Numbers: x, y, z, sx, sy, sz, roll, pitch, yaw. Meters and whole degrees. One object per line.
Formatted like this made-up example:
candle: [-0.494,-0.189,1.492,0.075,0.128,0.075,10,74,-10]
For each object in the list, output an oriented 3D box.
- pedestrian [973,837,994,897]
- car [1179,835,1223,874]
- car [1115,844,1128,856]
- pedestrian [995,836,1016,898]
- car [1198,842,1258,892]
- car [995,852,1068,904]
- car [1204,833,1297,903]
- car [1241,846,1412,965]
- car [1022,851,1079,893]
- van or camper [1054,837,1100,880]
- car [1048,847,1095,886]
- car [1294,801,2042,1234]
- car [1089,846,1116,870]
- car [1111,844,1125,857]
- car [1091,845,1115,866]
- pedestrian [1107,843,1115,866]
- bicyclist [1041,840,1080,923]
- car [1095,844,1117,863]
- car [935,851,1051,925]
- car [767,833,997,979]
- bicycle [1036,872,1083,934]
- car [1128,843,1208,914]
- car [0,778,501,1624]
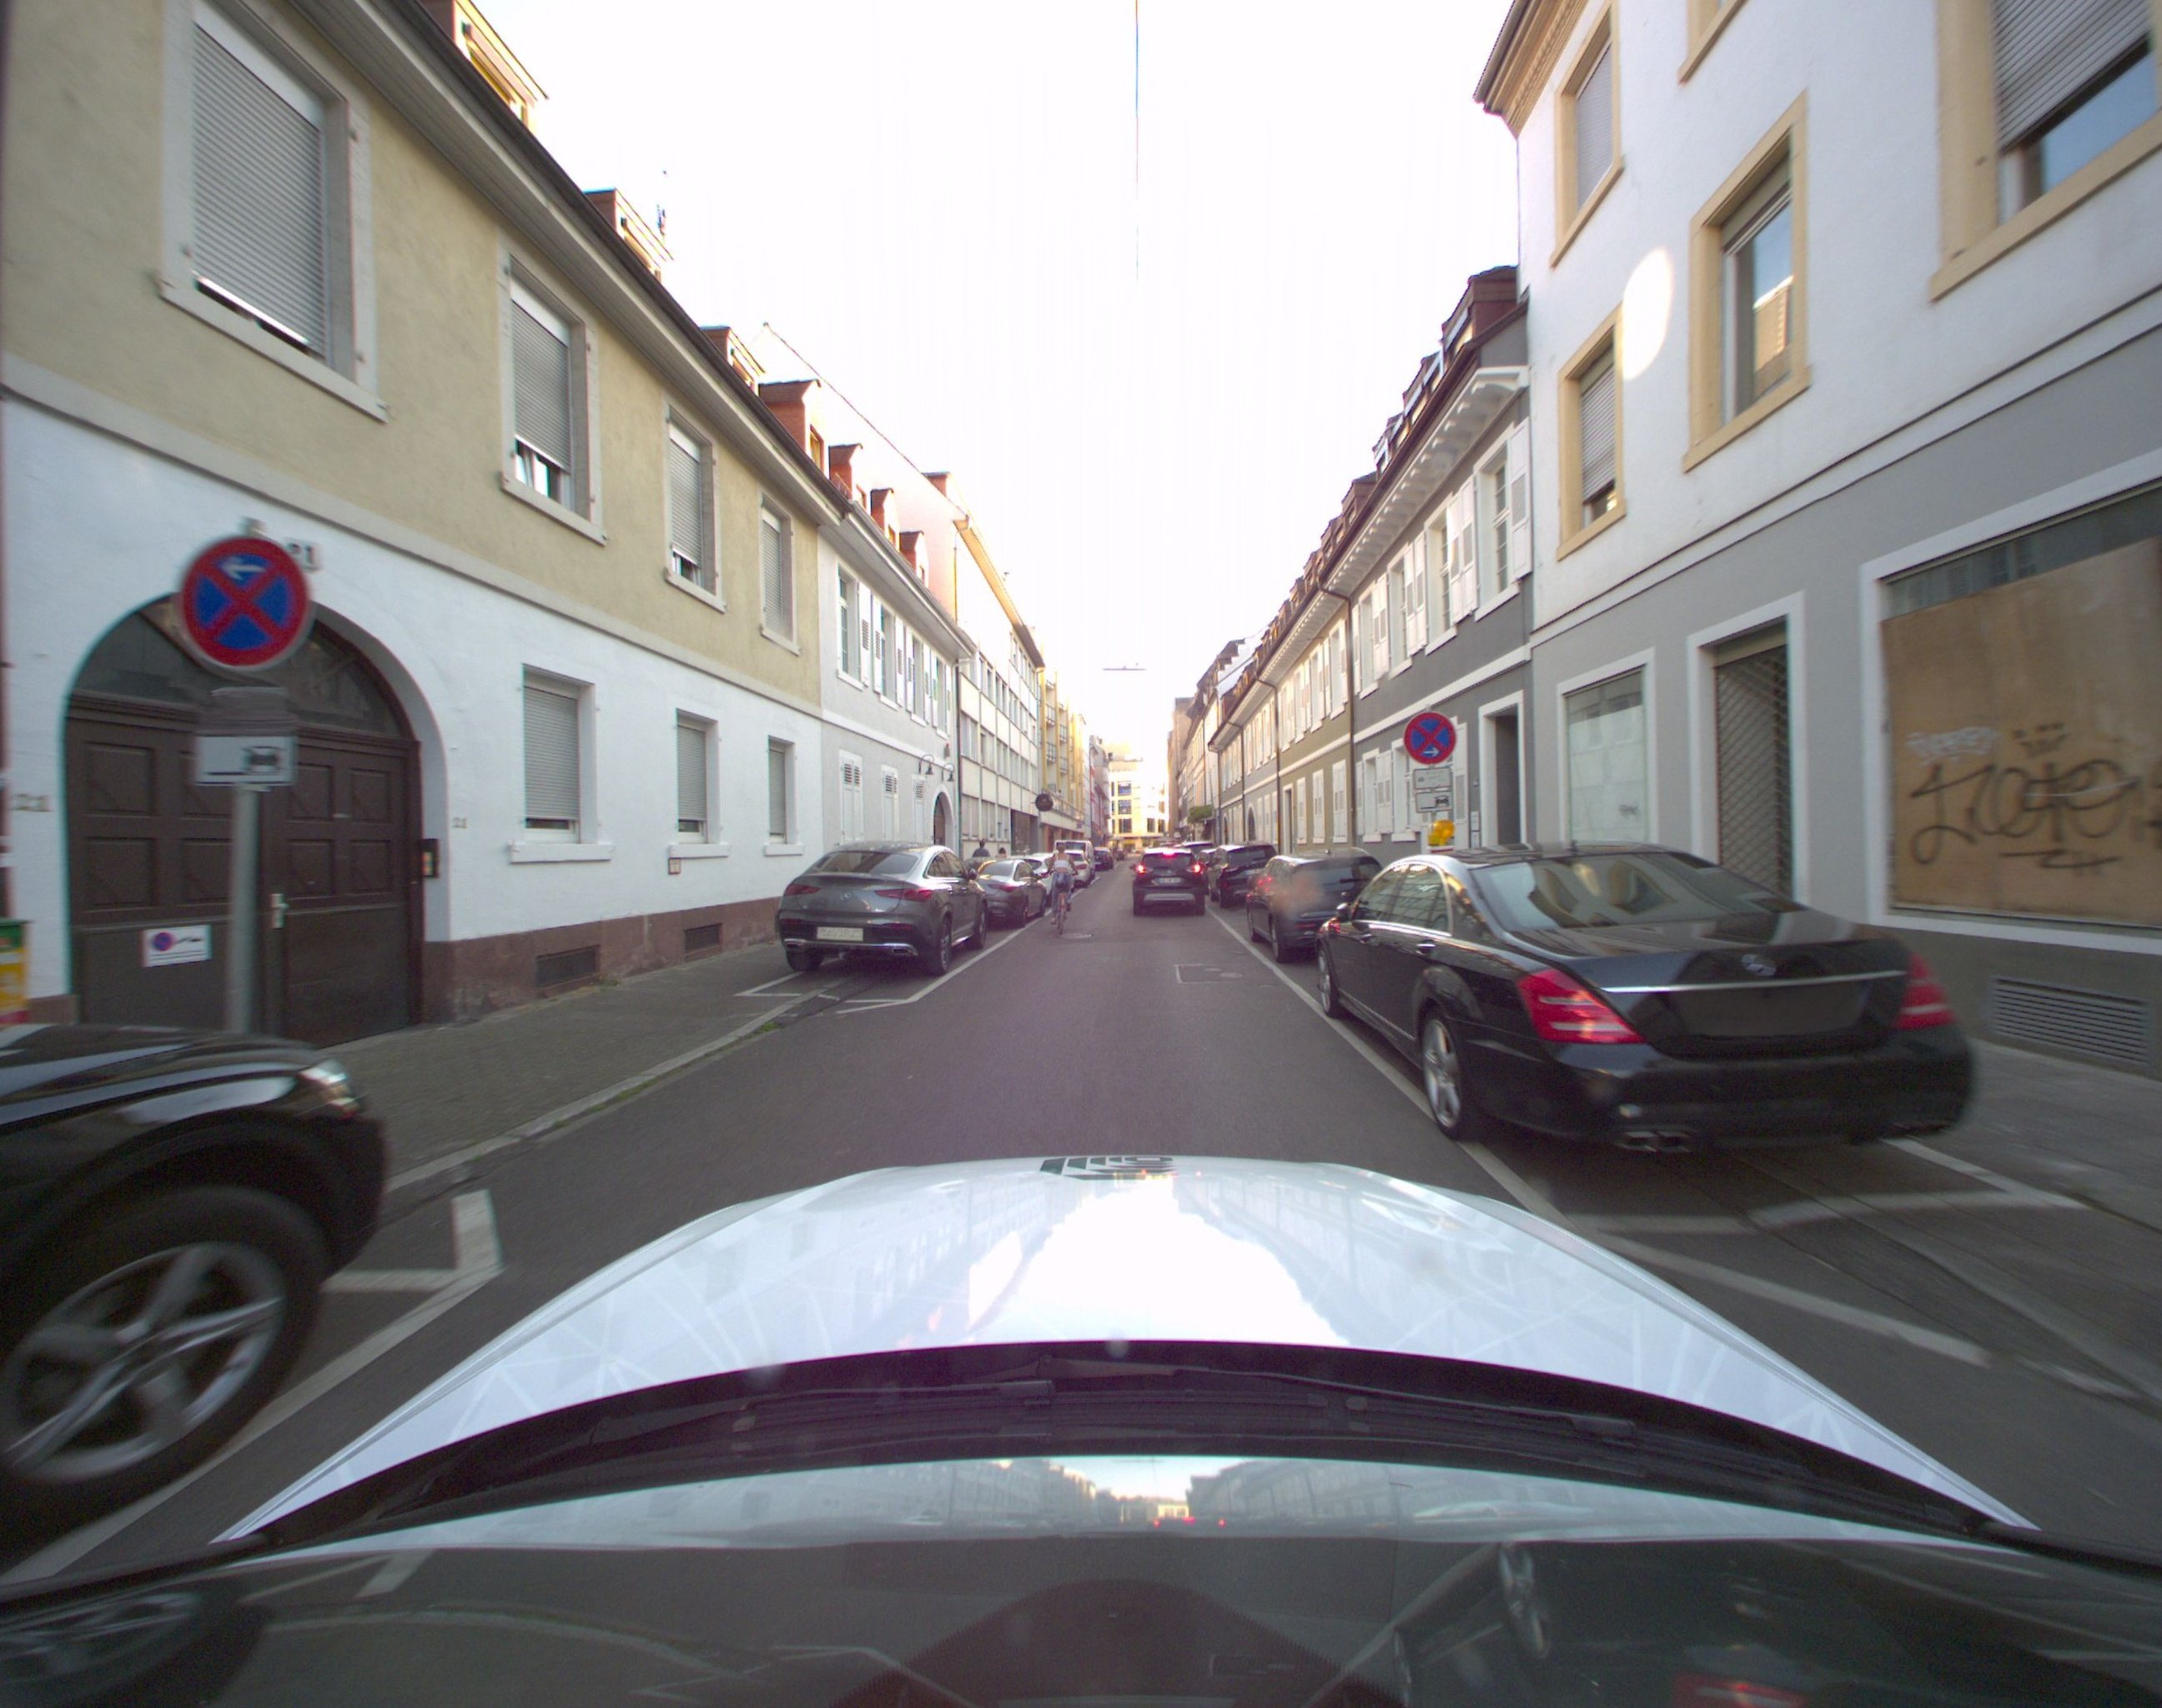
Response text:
pedestrian: [-3.253,0.428,27.289,0.607,2.013,0.450,-1,0,1]
car: [5.061,0.012,34.710,1.646,1.561,3.610,0,1,5]
car: [5.480,-0.494,109.070,1.646,1.561,3.610,0,1,5]
pedestrian: [-2.487,0.418,26.988,0.607,2.013,0.450,-1,0,1]
car: [4.829,0.379,27.112,1.646,1.561,3.610,0,1,5]
car: [-1.412,0.651,24.500,1.646,1.411,3.907,0,1,5]
car: [4.535,0.316,22.362,1.910,1.738,4.157,0,1,3]
car: [3.492,0.630,12.299,1.668,1.486,4.005,0,1,4]
car: [-1.033,0.603,29.583,1.646,1.411,3.610,0,1,5]
van or camper: [-0.133,0.185,40.384,1.836,2.013,4.684,0,1,5]
car: [-0.354,0.487,34.534,1.646,1.561,3.610,0,1,5]
car: [2.858,0.617,5.624,1.810,1.530,5.079,-5,0,6]
car: [1.530,0.253,57.012,1.646,1.561,3.610,0,1,5]
car: [4.701,-0.427,102.328,1.646,1.561,3.610,0,1,5]
car: [1.695,0.077,62.324,1.646,1.561,3.610,0,1,5]
pedestrian: [2.216,0.023,60.869,0.552,1.752,0.568,-1,0,1]
bicyclist: [-0.401,0.520,15.918,0.617,1.574,0.685,-1,0,9]
car: [2.123,-0.030,68.007,1.646,1.561,3.610,0,1,5]
car: [-1.818,0.657,18.225,1.910,1.434,4.297,0,1,3]
car: [-2.571,0.586,11.815,1.989,1.707,4.539,0,1,3]
bicycle: [-0.391,0.929,15.921,0.610,1.082,1.813,-1,0,8]
car: [2.124,0.541,20.563,1.811,1.618,4.005,0,1,4]
car: [-3.157,0.720,0.665,1.794,1.676,4.497,-1,0,6]
